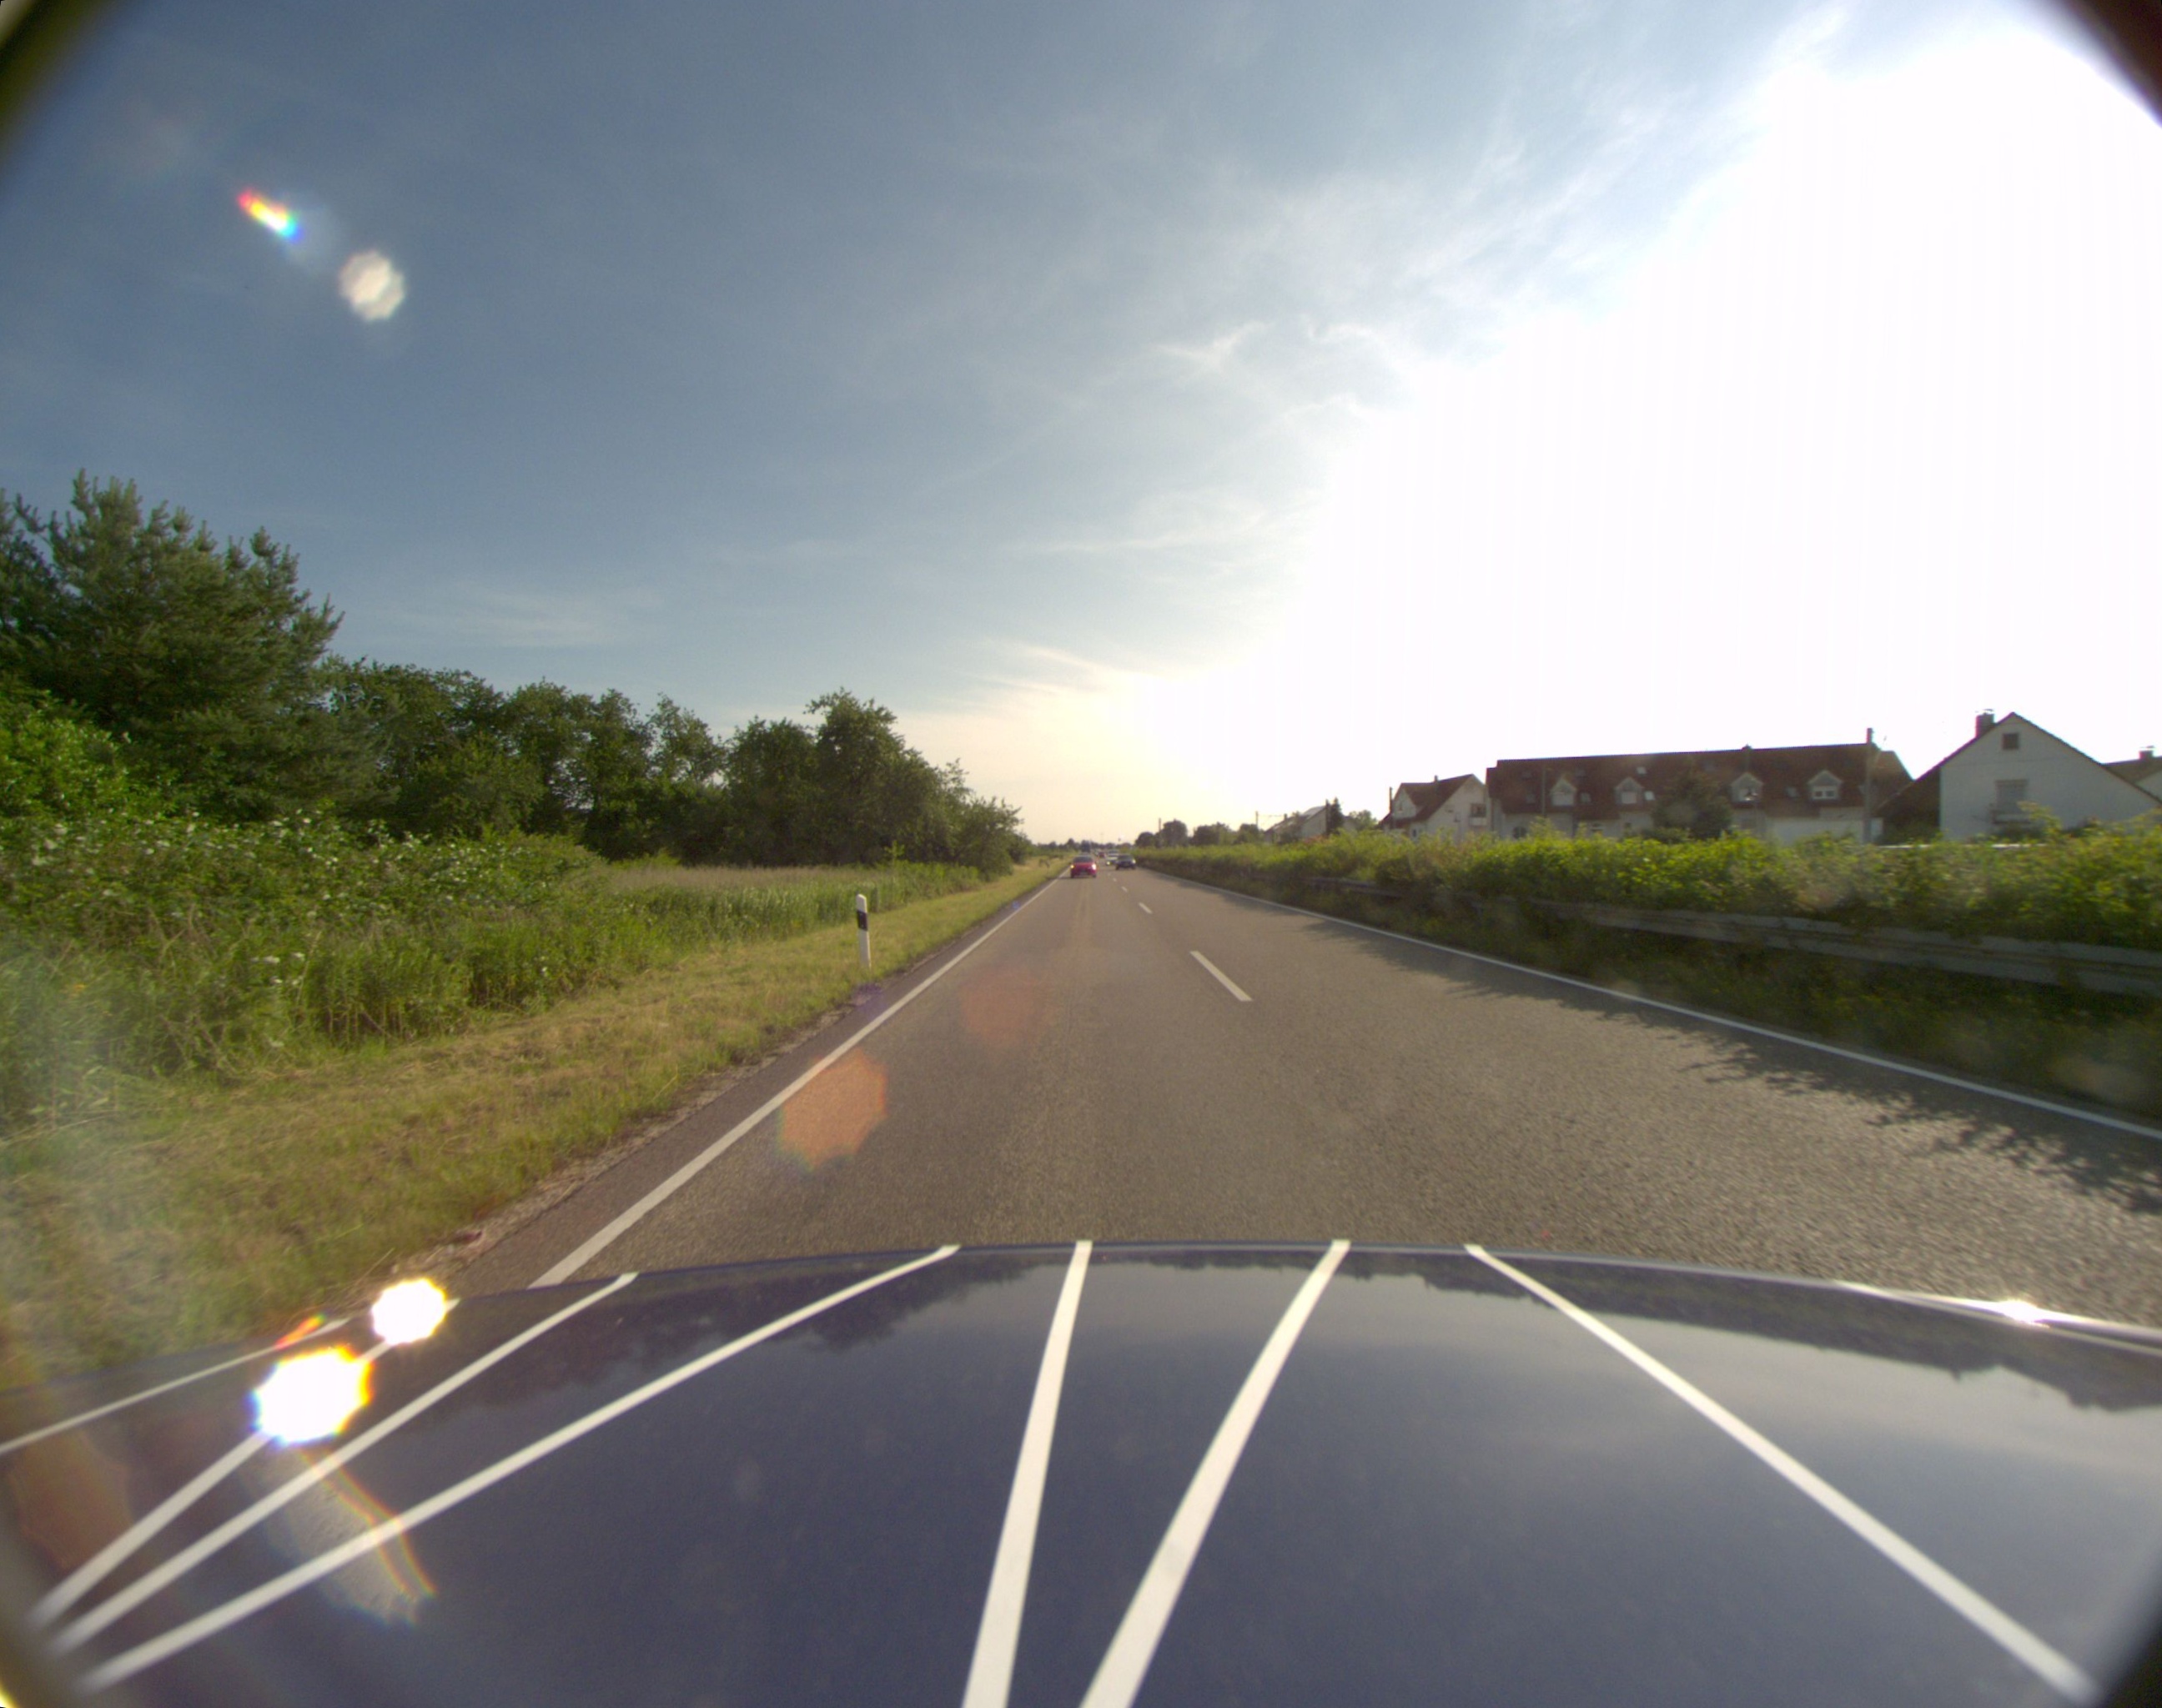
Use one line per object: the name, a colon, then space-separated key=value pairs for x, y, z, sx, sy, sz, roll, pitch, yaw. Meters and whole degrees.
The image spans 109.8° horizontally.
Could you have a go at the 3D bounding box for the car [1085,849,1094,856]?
car: x=1.800 y=-0.362 z=157.420 sx=1.636 sy=1.442 sz=4.000 roll=-2 pitch=1 yaw=1

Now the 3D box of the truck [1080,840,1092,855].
truck: x=1.373 y=-1.694 z=207.562 sx=2.849 sy=3.897 sz=10.103 roll=-2 pitch=1 yaw=1

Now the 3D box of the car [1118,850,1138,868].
car: x=4.289 y=0.404 z=69.860 sx=1.636 sy=1.500 sz=4.000 roll=-2 pitch=1 yaw=1

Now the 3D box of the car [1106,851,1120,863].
car: x=3.963 y=0.341 z=93.782 sx=1.636 sy=1.442 sz=4.000 roll=-2 pitch=1 yaw=1

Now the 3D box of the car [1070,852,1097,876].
car: x=0.215 y=0.647 z=51.741 sx=1.735 sy=1.467 sz=4.000 roll=-2 pitch=1 yaw=1

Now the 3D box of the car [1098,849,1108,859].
car: x=4.856 y=0.027 z=167.550 sx=1.998 sy=2.002 sz=4.000 roll=-2 pitch=0 yaw=1

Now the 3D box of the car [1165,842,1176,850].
car: x=20.927 y=-1.841 z=178.134 sx=1.998 sy=1.740 sz=3.999 roll=-2 pitch=1 yaw=0
